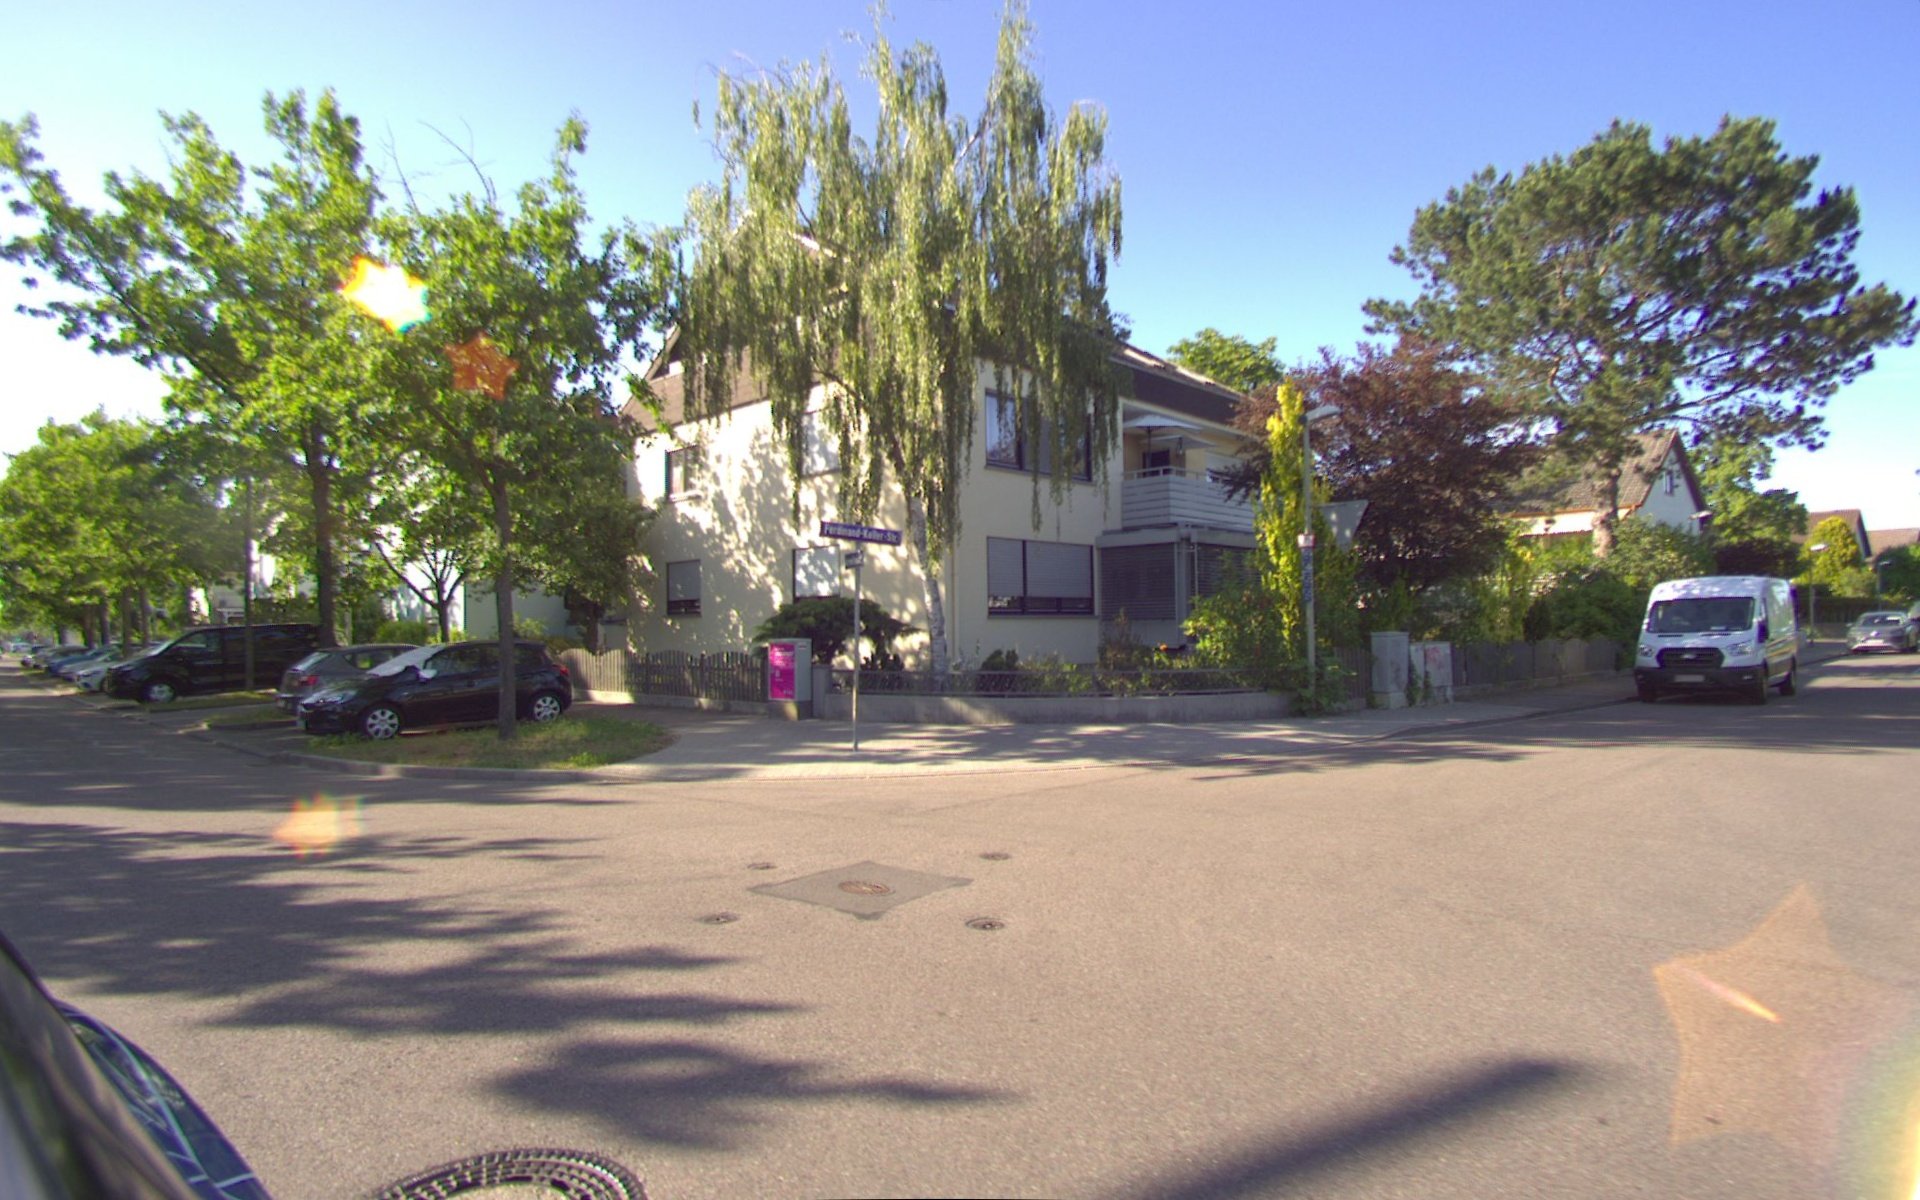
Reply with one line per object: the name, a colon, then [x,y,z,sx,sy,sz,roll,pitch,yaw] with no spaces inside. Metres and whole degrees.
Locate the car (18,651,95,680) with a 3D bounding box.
car: [-68.173,4.905,76.384,2.000,1.959,4.189,-3,-3,43]

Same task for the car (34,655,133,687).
car: [-48.502,3.910,56.030,1.810,1.434,3.989,-4,-1,44]

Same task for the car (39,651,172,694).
car: [-38.568,3.236,45.740,4.471,1.643,1.939,-1,-2,-43]

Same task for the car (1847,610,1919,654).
car: [36.760,1.263,40.142,4.409,1.653,1.909,1,-3,-43]

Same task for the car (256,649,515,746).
car: [-10.486,1.713,18.645,1.772,1.430,3.777,-4,-2,43]

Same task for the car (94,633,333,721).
car: [-19.362,1.928,26.415,2.018,1.931,4.727,-4,-2,43]

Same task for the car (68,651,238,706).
car: [-26.780,2.564,33.672,1.769,1.489,4.227,-4,-2,45]

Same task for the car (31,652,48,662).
car: [-151.809,9.454,166.872,1.715,1.552,3.954,0,-2,-38]

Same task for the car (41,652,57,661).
car: [-166.057,10.320,184.523,1.849,1.489,3.858,0,-2,-37]

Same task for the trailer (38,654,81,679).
trailer: [-64.532,4.759,72.568,2.208,1.686,1.477,0,-3,-40]

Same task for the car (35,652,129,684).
car: [-52.016,4.028,59.988,4.138,1.579,1.794,-2,-2,-43]

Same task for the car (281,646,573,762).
car: [-8.481,1.579,16.292,1.714,1.470,3.814,-4,-2,45]

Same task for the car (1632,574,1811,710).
car: [15.396,0.788,20.315,5.551,2.367,2.001,1,-3,-44]

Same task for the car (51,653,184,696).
car: [-35.194,3.089,42.324,1.648,1.503,4.135,-4,-2,45]
